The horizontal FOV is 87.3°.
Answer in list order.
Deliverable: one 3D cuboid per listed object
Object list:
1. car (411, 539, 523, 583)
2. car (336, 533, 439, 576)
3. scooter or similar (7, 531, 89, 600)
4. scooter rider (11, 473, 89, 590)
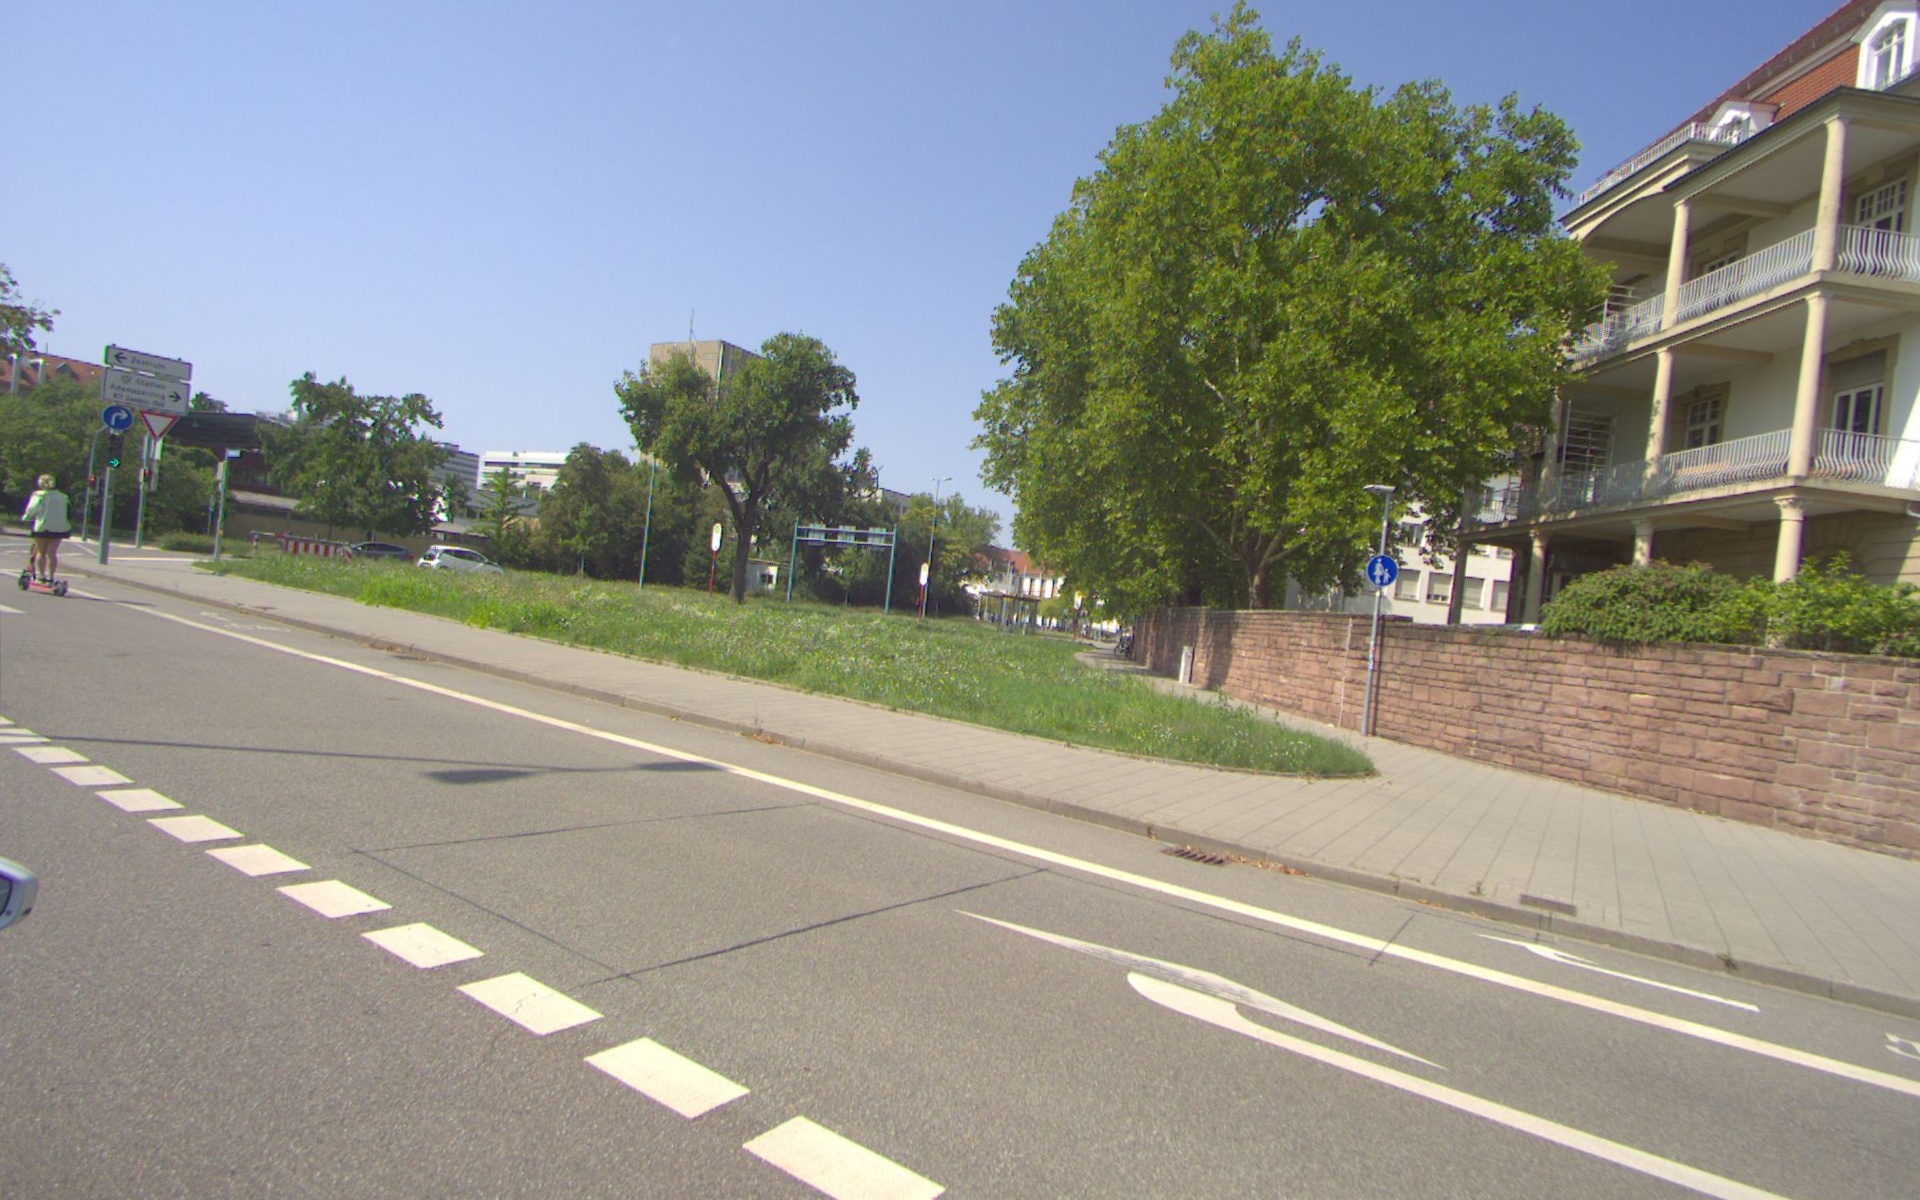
[{"bbox_3d":[-21.945,-1.716,44.894,1.820,1.408,3.986,7,0,36],"label":"car"},{"bbox_3d":[-28.412,-2.259,50.056,1.794,1.584,3.988,7,0,35],"label":"car"},{"bbox_3d":[-14.929,-0.576,16.460,1.598,0.938,0.771,7,0,42],"label":"scooter or similar"},{"bbox_3d":[-14.883,-1.121,16.457,0.547,1.798,0.761,7,1,41],"label":"scooter rider"}]
